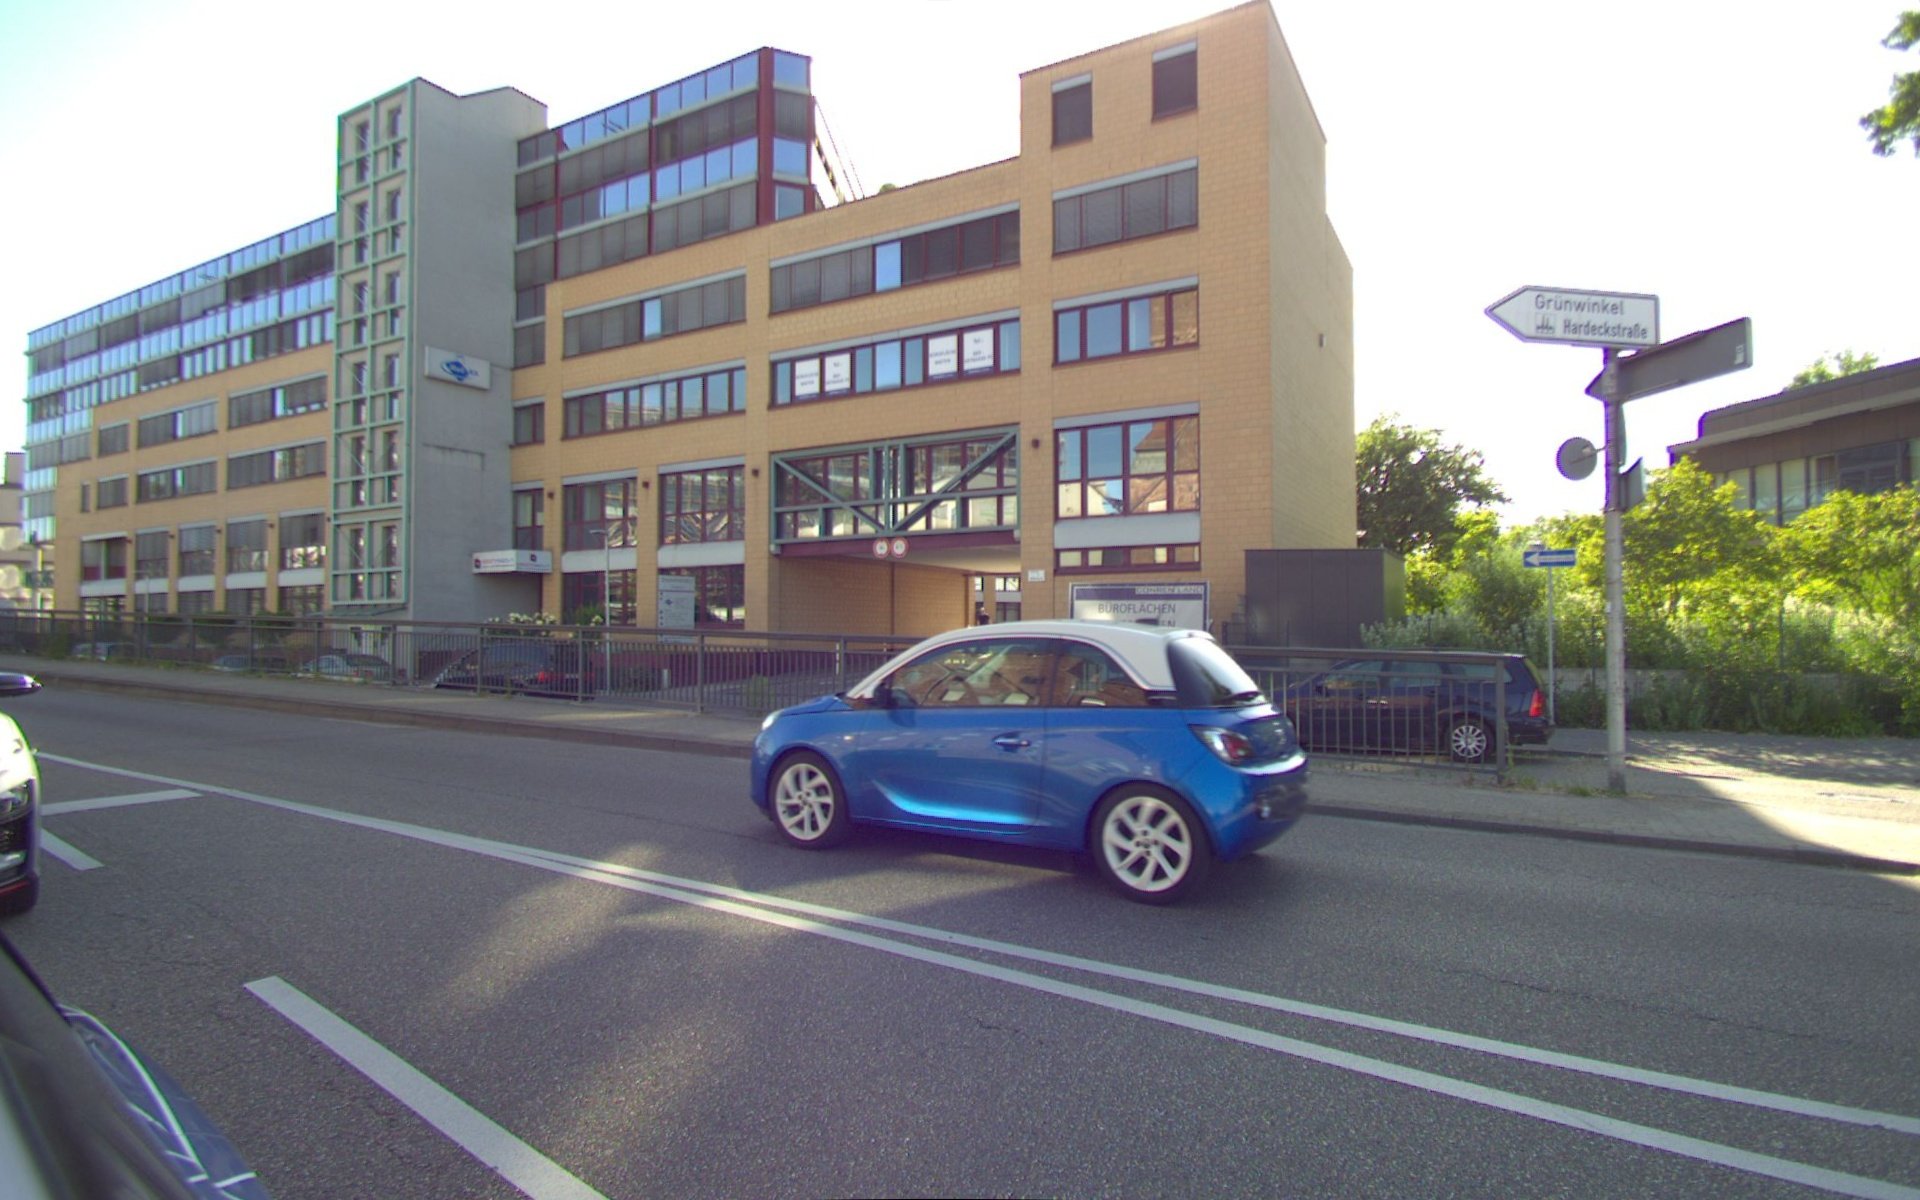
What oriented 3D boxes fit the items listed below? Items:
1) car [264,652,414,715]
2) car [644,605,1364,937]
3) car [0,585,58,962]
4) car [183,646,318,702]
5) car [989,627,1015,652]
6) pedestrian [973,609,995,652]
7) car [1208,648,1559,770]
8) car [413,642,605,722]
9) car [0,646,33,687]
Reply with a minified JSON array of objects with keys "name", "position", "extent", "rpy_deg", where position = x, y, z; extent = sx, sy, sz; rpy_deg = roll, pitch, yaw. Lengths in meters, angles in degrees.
[{"name":"car","position":[-17.734,2.319,28.867],"extent":[4.340,1.616,1.807],"rpy_deg":[-1,-3,30]},{"name":"car","position":[0.115,0.869,6.647],"extent":[4.438,1.515,1.805],"rpy_deg":[-2,-3,34]},{"name":"car","position":[-6.141,0.738,4.955],"extent":[4.214,1.582,1.827],"rpy_deg":[-1,-1,38]},{"name":"car","position":[-22.249,2.268,31.705],"extent":[4.340,1.616,1.807],"rpy_deg":[-1,-3,30]},{"name":"car","position":[2.760,2.605,66.733],"extent":[1.621,1.586,3.150],"rpy_deg":[-1,-2,2]},{"name":"pedestrian","position":[1.065,1.337,44.592],"extent":[0.676,1.858,0.779],"rpy_deg":[-2,-3,28]},{"name":"car","position":[6.063,1.462,14.696],"extent":[4.438,1.515,1.805],"rpy_deg":[-2,-3,33]},{"name":"car","position":[-11.147,1.933,24.946],"extent":[4.667,1.771,1.938],"rpy_deg":[-1,-1,29]},{"name":"car","position":[-41.477,2.808,43.106],"extent":[3.988,1.674,1.977],"rpy_deg":[-1,-3,33]}]
